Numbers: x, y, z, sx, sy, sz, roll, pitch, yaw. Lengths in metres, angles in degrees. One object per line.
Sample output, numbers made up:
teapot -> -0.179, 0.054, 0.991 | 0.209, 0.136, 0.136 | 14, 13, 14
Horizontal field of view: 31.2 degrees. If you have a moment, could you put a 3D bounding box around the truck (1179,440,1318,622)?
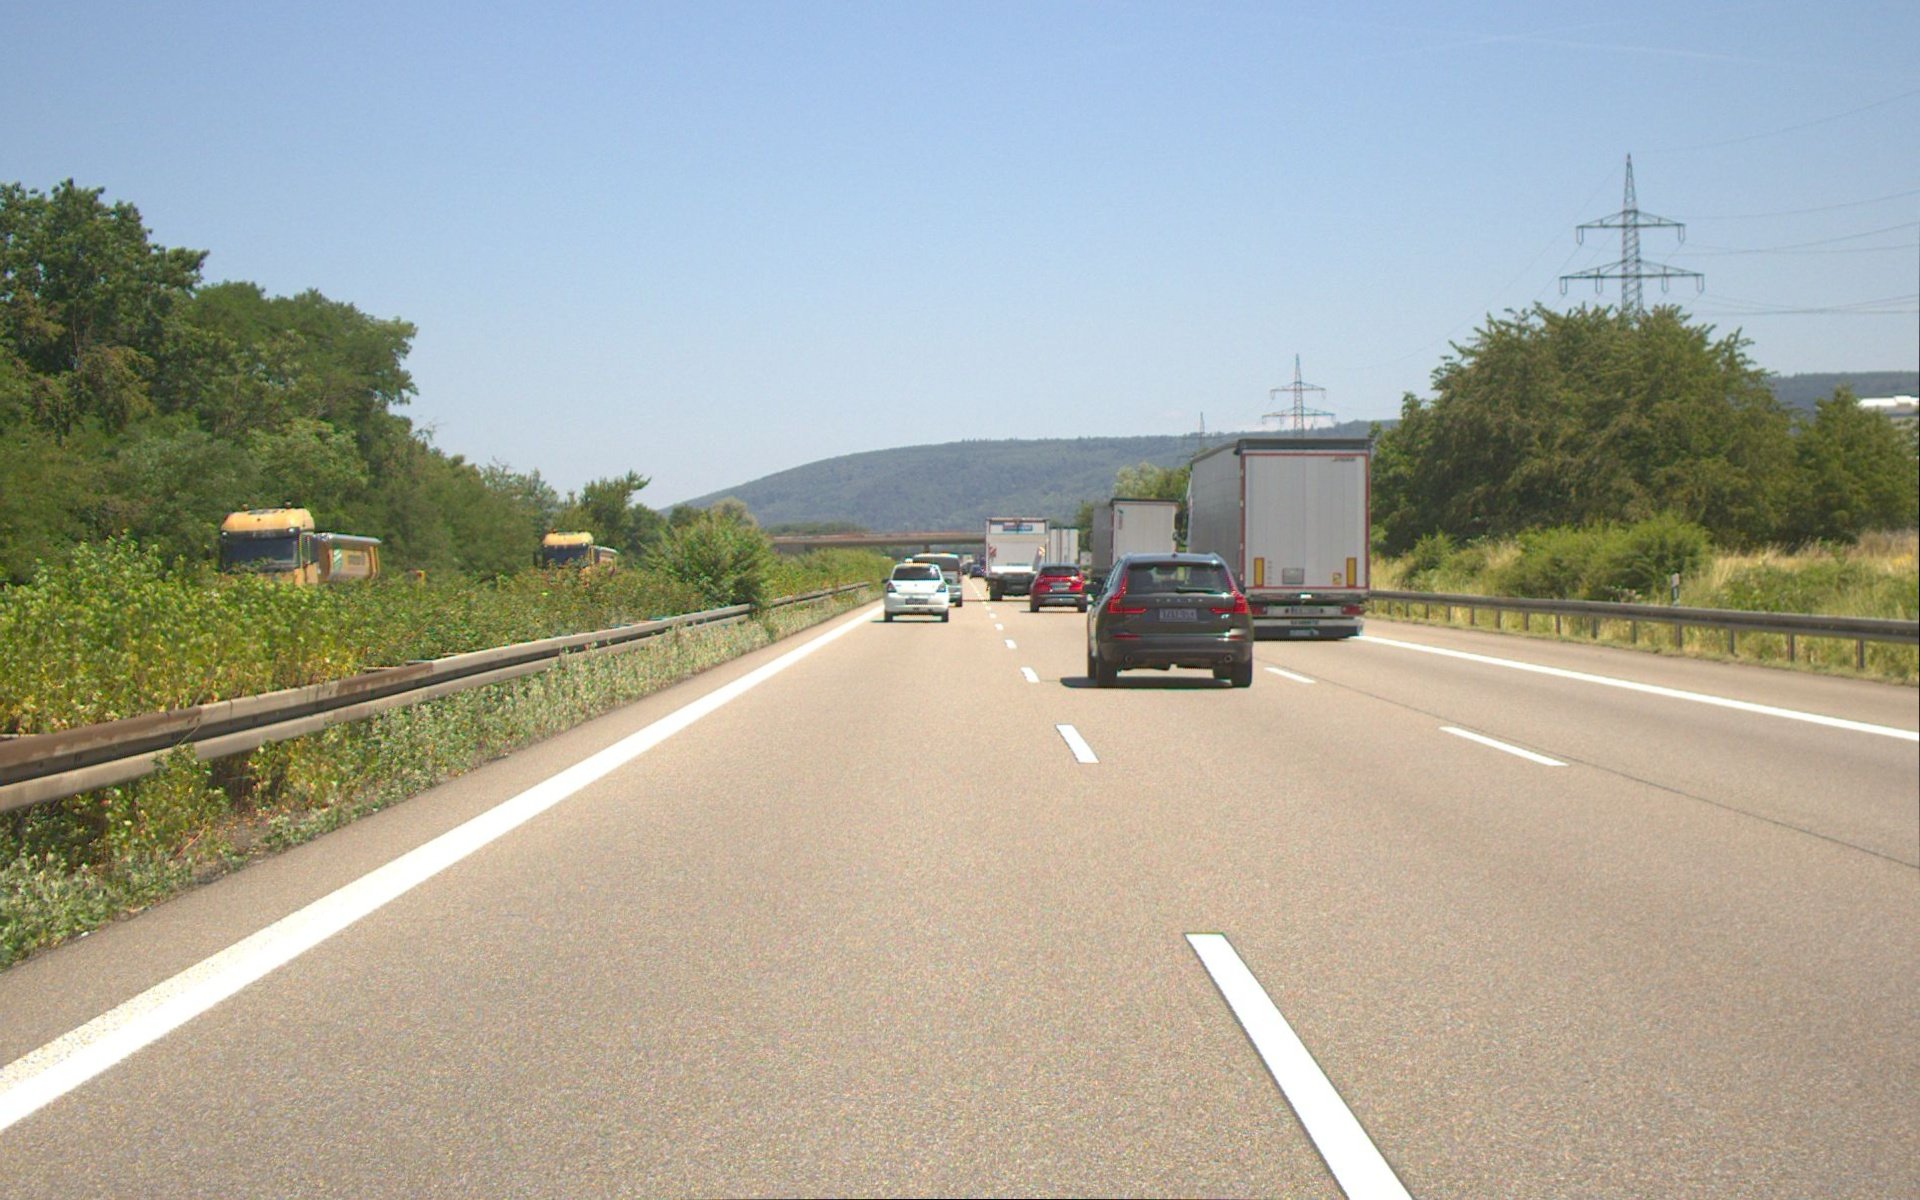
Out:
truck -> 6.724, -1.591, 80.760 | 2.736, 4.105, 6.125 | 0, 1, 0

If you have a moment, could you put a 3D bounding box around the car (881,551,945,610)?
car -> -1.222, -0.531, 90.051 | 1.607, 1.463, 4.000 | -1, 1, -1

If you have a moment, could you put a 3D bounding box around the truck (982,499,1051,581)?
truck -> 2.339, -2.484, 144.771 | 2.782, 3.361, 8.127 | 0, 0, 0

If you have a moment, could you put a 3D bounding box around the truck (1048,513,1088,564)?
truck -> 7.024, -4.011, 225.173 | 2.221, 3.198, 10.385 | -1, 1, 0

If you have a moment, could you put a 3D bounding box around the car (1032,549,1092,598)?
car -> 3.233, -0.853, 109.172 | 1.803, 1.540, 4.000 | 0, 1, 0

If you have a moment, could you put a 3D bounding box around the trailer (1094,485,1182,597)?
trailer -> 6.983, -2.300, 136.583 | 2.789, 4.149, 13.574 | -1, 1, 1

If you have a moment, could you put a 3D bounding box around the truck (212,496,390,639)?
truck -> -18.135, -0.915, 95.407 | 2.538, 3.622, 11.845 | -3, 1, 0

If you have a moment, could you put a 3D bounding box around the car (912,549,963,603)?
car -> -0.813, -0.860, 122.043 | 1.761, 1.844, 4.000 | -1, 1, -1

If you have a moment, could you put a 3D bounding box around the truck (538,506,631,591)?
truck -> -17.626, -2.426, 161.914 | 2.899, 3.693, 11.899 | -3, 1, 0

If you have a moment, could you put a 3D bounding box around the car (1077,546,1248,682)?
car -> 2.476, 0.137, 42.910 | 1.873, 1.618, 4.004 | 0, 1, 0

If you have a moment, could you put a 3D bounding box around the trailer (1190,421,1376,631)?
trailer -> 6.729, -1.514, 73.553 | 2.736, 4.092, 13.122 | 0, 1, 0
